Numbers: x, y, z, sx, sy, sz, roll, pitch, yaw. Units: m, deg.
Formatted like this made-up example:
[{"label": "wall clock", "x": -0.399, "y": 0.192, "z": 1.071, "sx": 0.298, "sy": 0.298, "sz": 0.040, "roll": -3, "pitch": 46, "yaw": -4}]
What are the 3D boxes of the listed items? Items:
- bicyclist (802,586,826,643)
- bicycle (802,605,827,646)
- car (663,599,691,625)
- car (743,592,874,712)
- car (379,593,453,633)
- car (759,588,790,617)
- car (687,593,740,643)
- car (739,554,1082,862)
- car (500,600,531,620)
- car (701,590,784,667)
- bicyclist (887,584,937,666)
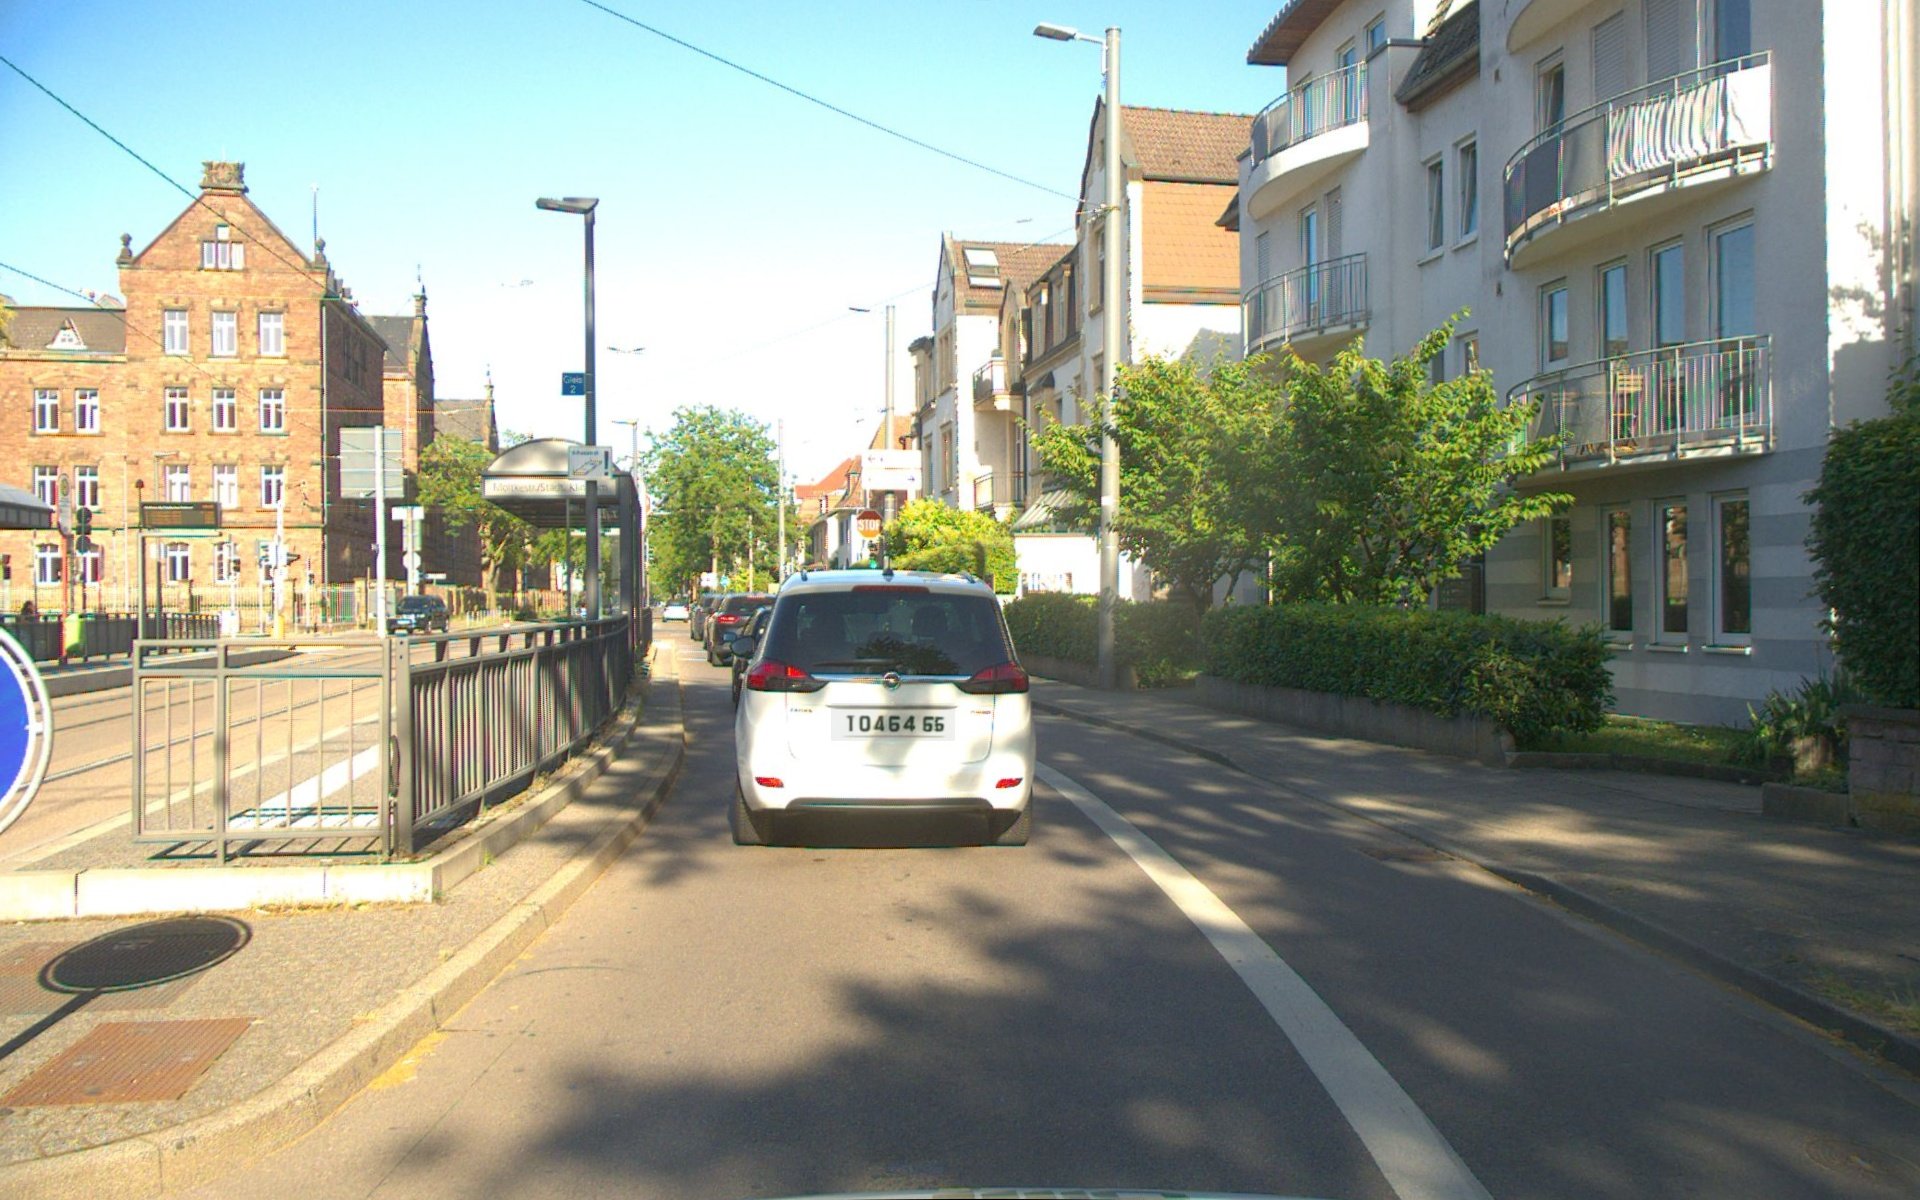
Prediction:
[{"label": "bicyclist", "x": -4.330, "y": 0.427, "z": 49.082, "sx": 0.673, "sy": 1.663, "sz": 1.014, "roll": 0, "pitch": -1, "yaw": -8}, {"label": "bicycle", "x": -4.319, "y": 0.742, "z": 49.014, "sx": 0.673, "sy": 1.177, "sz": 1.616, "roll": 0, "pitch": 0, "yaw": -8}, {"label": "car", "x": -19.230, "y": 0.793, "z": 112.398, "sx": 1.743, "sy": 1.722, "sz": 3.873, "roll": 0, "pitch": 0, "yaw": -8}, {"label": "car", "x": -2.123, "y": 0.632, "z": 22.354, "sx": 1.557, "sy": 1.445, "sz": 3.893, "roll": -1, "pitch": 0, "yaw": -8}, {"label": "car", "x": -24.242, "y": 0.559, "z": 73.865, "sx": 1.868, "sy": 1.706, "sz": 4.357, "roll": 0, "pitch": 0, "yaw": -1}, {"label": "car", "x": -10.988, "y": 0.170, "z": 97.950, "sx": 1.743, "sy": 1.660, "sz": 3.873, "roll": 0, "pitch": 0, "yaw": -8}, {"label": "car", "x": -8.467, "y": 0.606, "z": 57.024, "sx": 1.742, "sy": 1.660, "sz": 3.873, "roll": 0, "pitch": 0, "yaw": -8}, {"label": "car", "x": -0.516, "y": 0.593, "z": 11.070, "sx": 1.801, "sy": 1.671, "sz": 3.910, "roll": 0, "pitch": 0, "yaw": -9}, {"label": "car", "x": -36.814, "y": 0.843, "z": 137.156, "sx": 1.956, "sy": 1.624, "sz": 3.993, "roll": 0, "pitch": 0, "yaw": -8}, {"label": "car", "x": -5.032, "y": 0.624, "z": 37.973, "sx": 1.743, "sy": 1.660, "sz": 3.871, "roll": 0, "pitch": 0, "yaw": -10}, {"label": "bicyclist", "x": -0.921, "y": 0.462, "z": 31.354, "sx": 0.806, "sy": 1.528, "sz": 0.932, "roll": 0, "pitch": -1, "yaw": -11}]
